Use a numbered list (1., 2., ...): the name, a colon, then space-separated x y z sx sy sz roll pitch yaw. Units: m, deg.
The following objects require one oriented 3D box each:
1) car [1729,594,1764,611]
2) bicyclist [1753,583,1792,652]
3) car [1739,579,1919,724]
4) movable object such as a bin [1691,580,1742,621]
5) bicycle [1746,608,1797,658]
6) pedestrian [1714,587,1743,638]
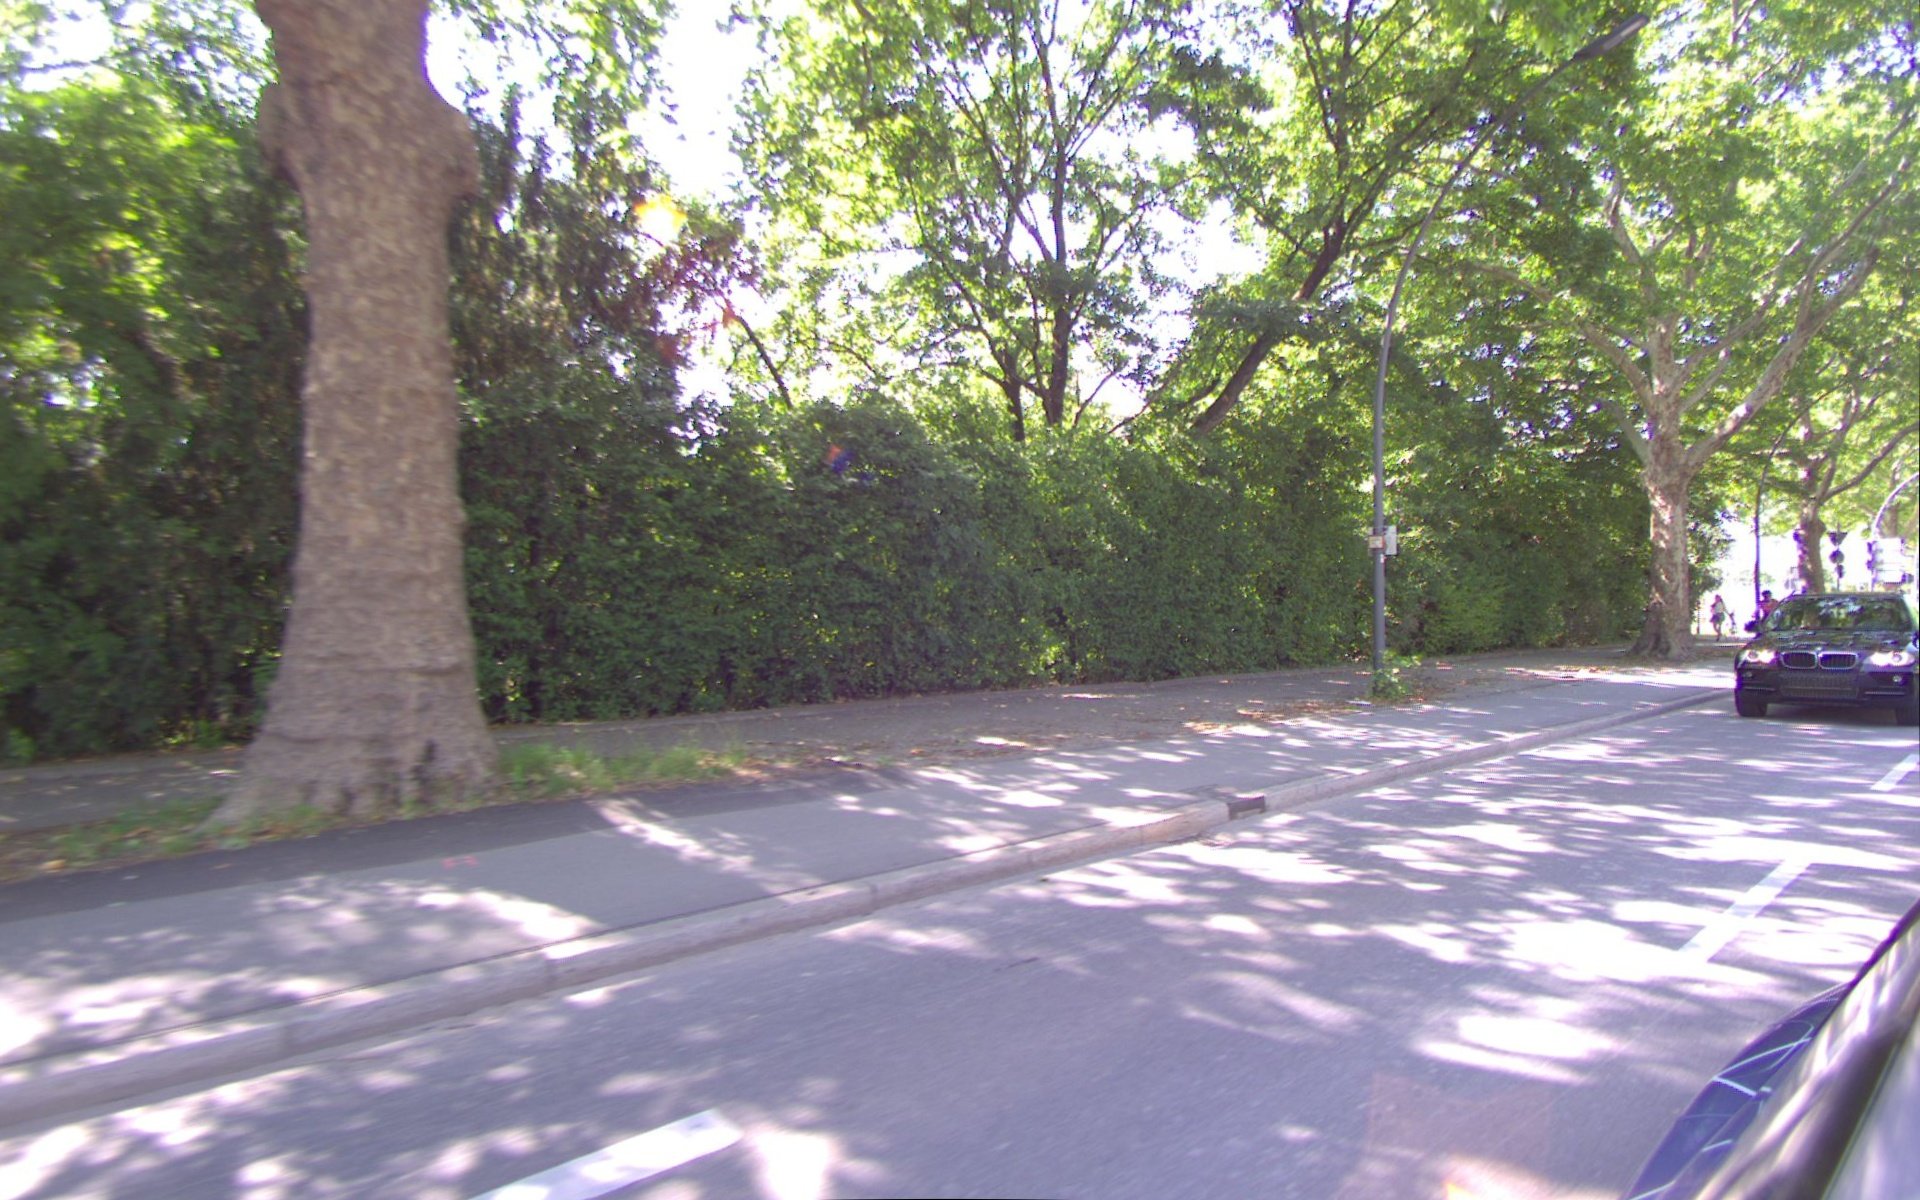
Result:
1. car: 129.988 0.348 167.250 1.779 2.774 4.366 1 -1 -44
2. bicyclist: 19.733 0.413 24.576 0.720 1.620 0.620 1 1 -43
3. car: 12.583 0.631 14.134 4.079 1.752 1.922 0 -1 -41
4. movable object such as a bin: 60.707 0.074 81.211 5.886 3.111 2.370 1 -1 -44
5. bicycle: 19.729 0.770 24.595 1.912 1.143 0.652 0 1 -42
6. pedestrian: 27.690 0.438 36.464 0.859 1.808 0.633 0 -1 -41
